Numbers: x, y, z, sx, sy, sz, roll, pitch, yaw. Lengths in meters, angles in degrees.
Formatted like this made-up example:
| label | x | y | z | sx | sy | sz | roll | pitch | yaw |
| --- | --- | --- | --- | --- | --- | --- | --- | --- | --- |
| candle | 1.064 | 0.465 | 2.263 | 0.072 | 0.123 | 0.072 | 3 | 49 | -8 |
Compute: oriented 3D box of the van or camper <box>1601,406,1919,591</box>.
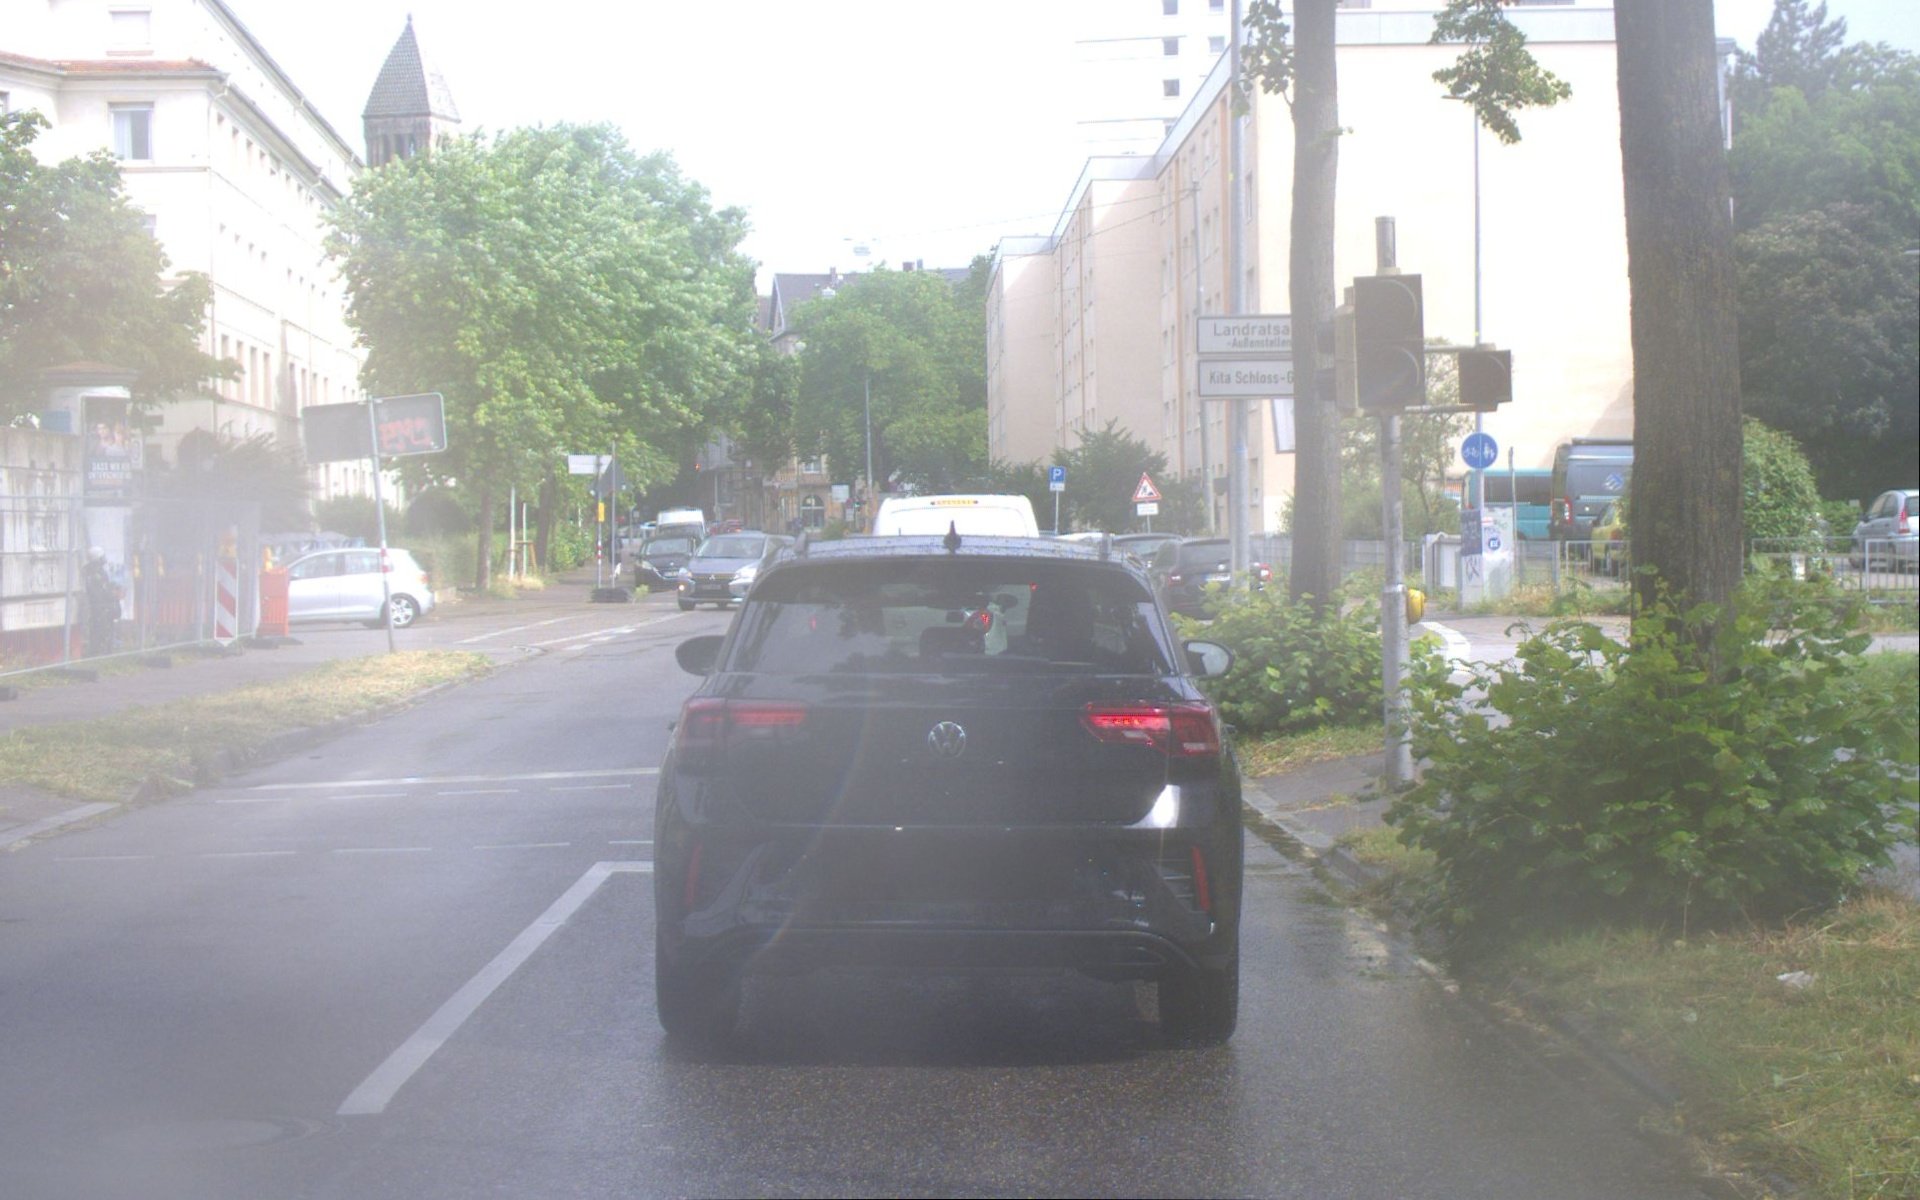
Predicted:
| label | x | y | z | sx | sy | sz | roll | pitch | yaw |
| --- | --- | --- | --- | --- | --- | --- | --- | --- | --- |
| van or camper | 12.287 | -1.504 | 51.096 | 5.032 | 2.587 | 2.168 | -1 | 1 | -1 |

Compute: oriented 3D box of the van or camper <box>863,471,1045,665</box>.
| label | x | y | z | sx | sy | sz | roll | pitch | yaw |
| --- | --- | --- | --- | --- | --- | --- | --- | --- | --- |
| van or camper | -0.029 | -0.375 | 36.502 | 1.819 | 1.941 | 4.195 | 0 | 1 | 1 |

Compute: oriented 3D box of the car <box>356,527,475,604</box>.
| label | x | y | z | sx | sy | sz | roll | pitch | yaw |
| --- | --- | --- | --- | --- | --- | --- | --- | --- | --- |
| car | -11.833 | -0.781 | 74.946 | 1.591 | 1.507 | 3.731 | -4 | 1 | 5 |

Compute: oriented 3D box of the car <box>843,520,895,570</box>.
| label | x | y | z | sx | sy | sz | roll | pitch | yaw |
| --- | --- | --- | --- | --- | --- | --- | --- | --- | --- |
| car | -3.017 | -1.826 | 113.648 | 1.591 | 1.507 | 3.732 | -4 | 1 | -2 |

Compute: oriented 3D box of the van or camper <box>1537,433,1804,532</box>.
| label | x | y | z | sx | sy | sz | roll | pitch | yaw |
| --- | --- | --- | --- | --- | --- | --- | --- | --- | --- |
| van or camper | 14.119 | -2.336 | 68.544 | 4.874 | 1.919 | 2.131 | 0 | 2 | 0 |

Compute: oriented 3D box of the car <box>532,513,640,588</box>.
| label | x | y | z | sx | sy | sz | roll | pitch | yaw |
| --- | --- | --- | --- | --- | --- | --- | --- | --- | --- |
| car | -8.341 | -1.127 | 76.963 | 1.591 | 1.507 | 3.731 | -4 | 1 | 5 |

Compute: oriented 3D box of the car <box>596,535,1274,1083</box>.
| label | x | y | z | sx | sy | sz | roll | pitch | yaw |
| --- | --- | --- | --- | --- | --- | --- | --- | --- | --- |
| car | -0.068 | 0.551 | 11.661 | 1.895 | 1.517 | 4.000 | 0 | 1 | 0 |

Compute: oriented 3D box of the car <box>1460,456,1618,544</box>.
| label | x | y | z | sx | sy | sz | roll | pitch | yaw |
| --- | --- | --- | --- | --- | --- | --- | --- | --- | --- |
| car | 13.194 | -2.278 | 78.449 | 3.408 | 1.775 | 1.759 | -4 | 1 | 9 |

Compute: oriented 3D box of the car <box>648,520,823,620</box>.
| label | x | y | z | sx | sy | sz | roll | pitch | yaw |
| --- | --- | --- | --- | --- | --- | --- | --- | --- | --- |
| car | -4.316 | -0.615 | 66.917 | 1.790 | 1.678 | 4.483 | -3 | 1 | 18 |

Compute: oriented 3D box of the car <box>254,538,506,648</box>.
| label | x | y | z | sx | sy | sz | roll | pitch | yaw |
| --- | --- | --- | --- | --- | --- | --- | --- | --- | --- |
| car | -10.189 | -0.126 | 60.417 | 3.922 | 1.645 | 1.760 | -4 | 1 | -27 |

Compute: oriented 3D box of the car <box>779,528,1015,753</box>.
| label | x | y | z | sx | sy | sz | roll | pitch | yaw |
| --- | --- | --- | --- | --- | --- | --- | --- | --- | --- |
| car | -0.471 | 0.302 | 29.371 | 1.680 | 1.702 | 3.909 | -3 | 1 | 3 |

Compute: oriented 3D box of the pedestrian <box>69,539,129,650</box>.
| label | x | y | z | sx | sy | sz | roll | pitch | yaw |
| --- | --- | --- | --- | --- | --- | --- | --- | --- | --- |
| pedestrian | -11.644 | -0.082 | 46.473 | 0.660 | 1.480 | 0.673 | -1 | 2 | -25 |

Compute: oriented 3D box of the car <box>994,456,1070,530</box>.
| label | x | y | z | sx | sy | sz | roll | pitch | yaw |
| --- | --- | --- | --- | --- | --- | --- | --- | --- | --- |
| car | 1.994 | -2.977 | 96.482 | 1.993 | 2.007 | 4.000 | 0 | 1 | -1 |

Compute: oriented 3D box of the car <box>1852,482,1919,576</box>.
| label | x | y | z | sx | sy | sz | roll | pitch | yaw |
| --- | --- | --- | --- | --- | --- | --- | --- | --- | --- |
| car | 17.959 | -1.373 | 64.433 | 1.743 | 1.678 | 3.870 | -4 | 1 | 6 |
